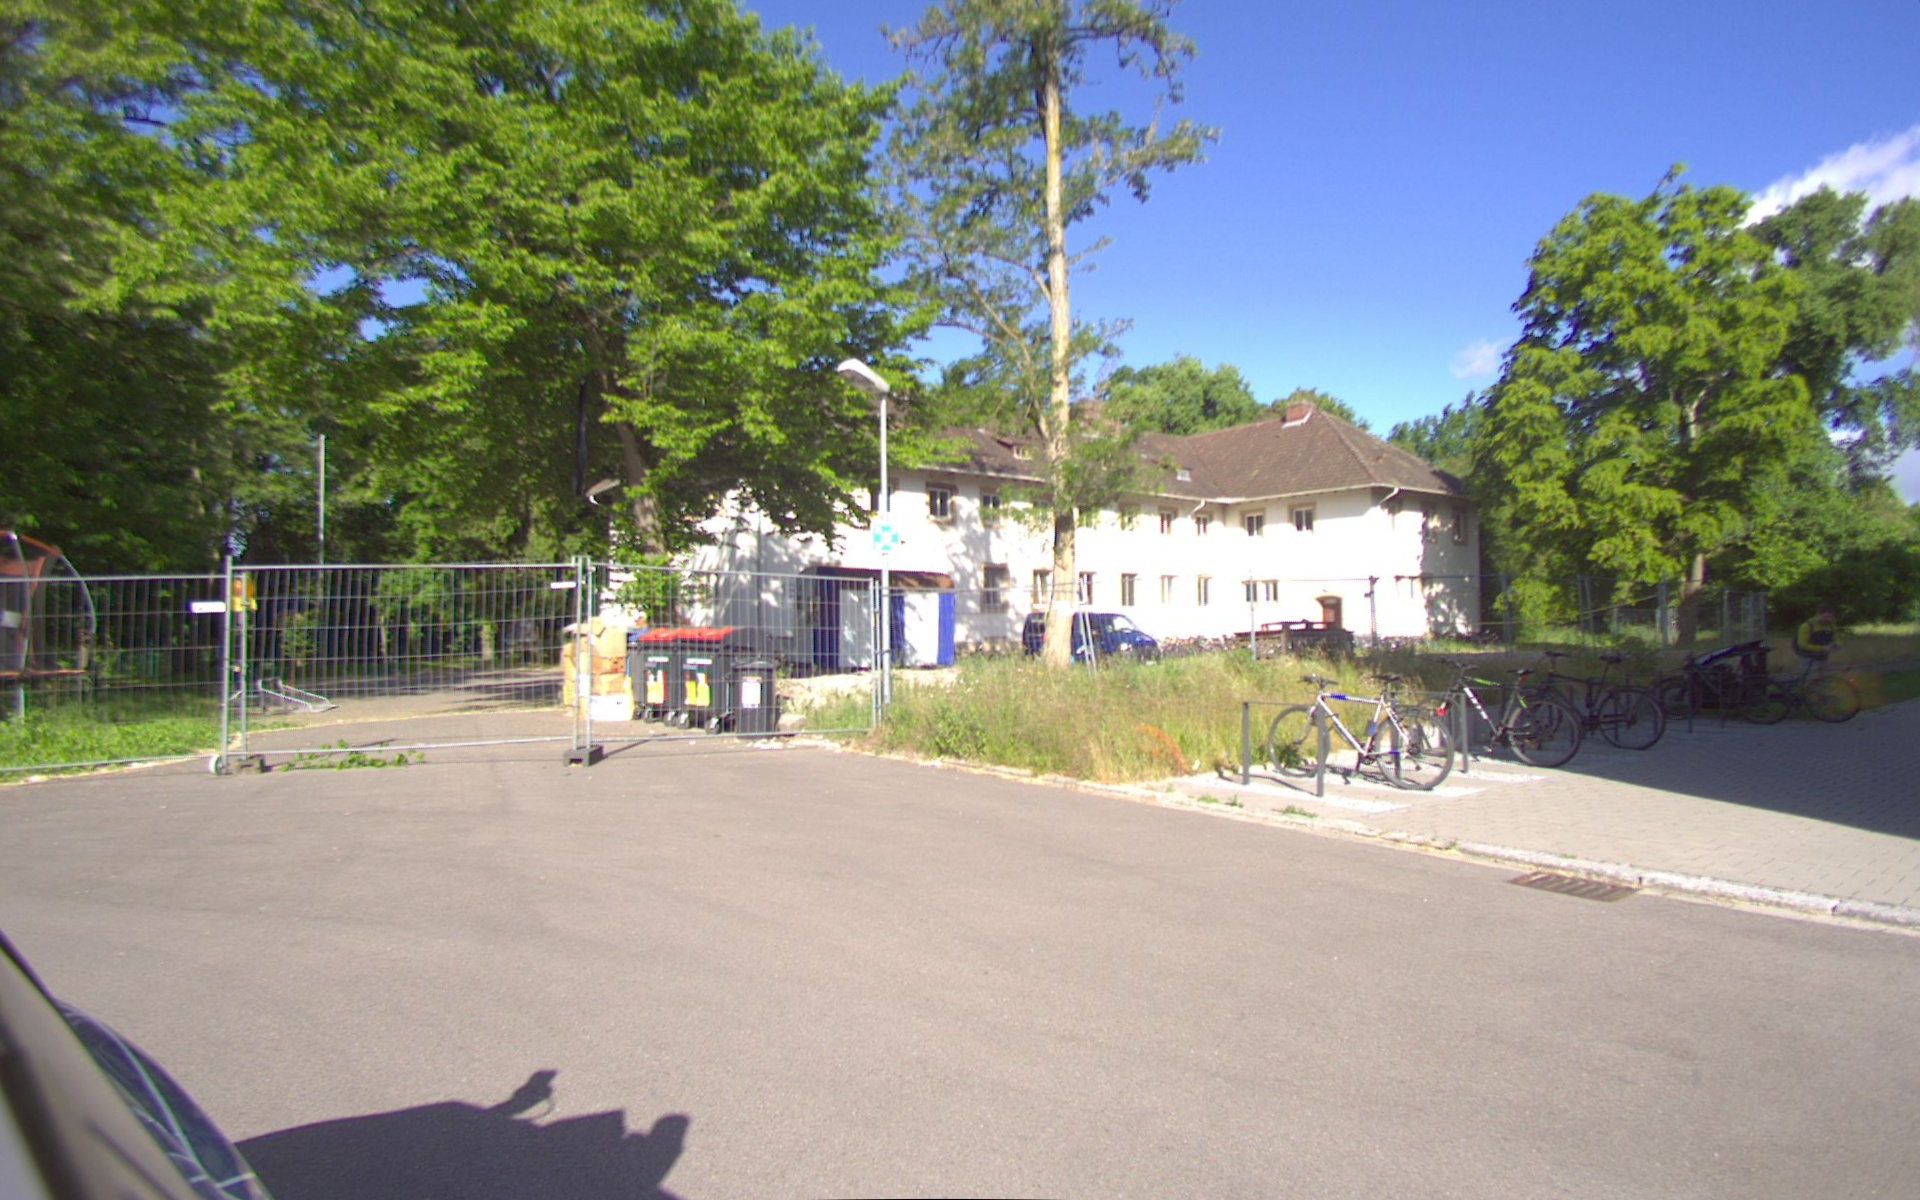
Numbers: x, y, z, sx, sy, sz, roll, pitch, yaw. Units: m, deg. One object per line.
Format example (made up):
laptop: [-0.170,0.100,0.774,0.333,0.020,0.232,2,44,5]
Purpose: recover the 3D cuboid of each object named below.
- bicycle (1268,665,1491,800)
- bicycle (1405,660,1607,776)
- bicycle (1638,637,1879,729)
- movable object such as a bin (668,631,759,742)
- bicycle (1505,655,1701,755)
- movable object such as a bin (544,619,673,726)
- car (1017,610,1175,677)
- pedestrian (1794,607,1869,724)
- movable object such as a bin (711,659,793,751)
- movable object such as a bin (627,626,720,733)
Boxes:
bicycle: [3.717,1.135,9.111,0.452,1.070,1.807,2,-3,-42]
bicycle: [5.700,1.191,10.668,0.516,1.091,1.802,1,-3,-36]
bicycle: [12.171,1.216,15.549,1.121,1.276,2.646,1,-3,-33]
movable object such as a bin: [-3.400,1.158,13.934,0.692,1.455,1.250,2,-3,-43]
bicycle: [7.690,1.219,12.200,0.517,1.103,1.897,2,-4,-39]
movable object such as a bin: [-5.742,1.138,16.458,1.157,1.603,2.298,2,-3,-43]
car: [4.135,1.378,31.491,1.969,1.917,4.731,3,-4,-42]
pedestrian: [13.283,0.991,15.431,0.626,1.741,0.512,0,-3,-4]
movable object such as a bin: [-2.656,1.311,12.899,0.805,1.106,0.740,1,-3,-34]
movable object such as a bin: [-4.247,1.151,14.982,0.795,1.495,1.343,2,-3,-44]
